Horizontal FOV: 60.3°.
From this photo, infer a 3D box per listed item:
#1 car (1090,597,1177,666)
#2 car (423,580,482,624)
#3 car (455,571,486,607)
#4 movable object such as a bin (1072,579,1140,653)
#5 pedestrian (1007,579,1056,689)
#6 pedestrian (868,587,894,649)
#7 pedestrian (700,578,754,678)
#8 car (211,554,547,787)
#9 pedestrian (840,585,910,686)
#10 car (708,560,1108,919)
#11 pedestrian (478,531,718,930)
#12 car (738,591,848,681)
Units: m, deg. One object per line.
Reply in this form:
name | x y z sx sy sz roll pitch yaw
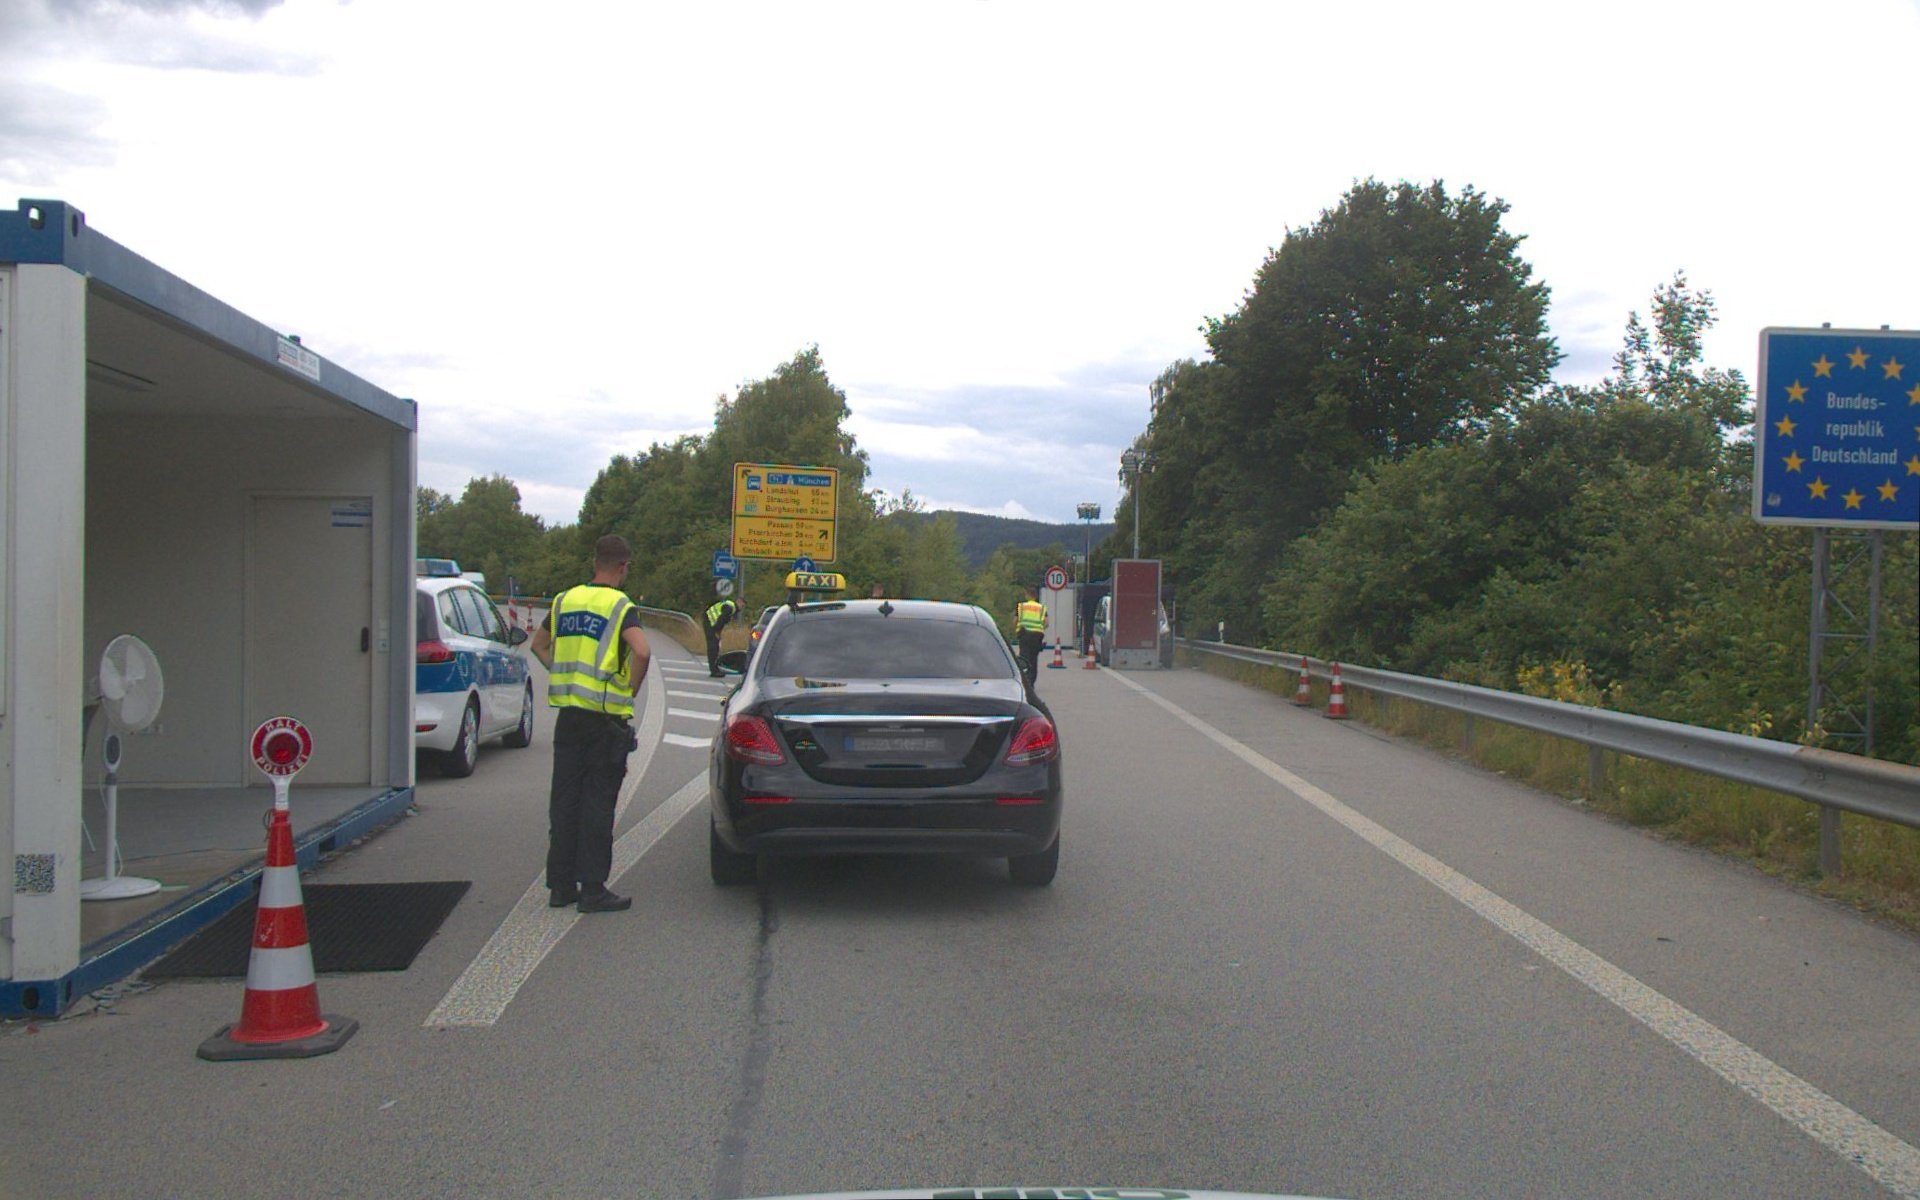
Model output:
car | 4.722 0.815 45.636 1.877 1.707 5.083 2 0 1
car | -18.548 0.071 60.576 1.824 1.524 4.240 1 0 -14
car | -30.967 -0.692 104.643 1.825 2.261 4.237 1 0 -16
movable object such as a bin | 4.758 0.506 54.481 1.952 2.320 4.168 1 0 2
pedestrian | 1.240 0.581 28.653 0.796 1.862 0.809 0 0 -1
pedestrian | -2.573 0.587 53.876 0.650 1.995 0.760 0 0 15
pedestrian | -4.294 0.504 30.524 0.892 1.800 0.911 1 0 -4
car | -4.958 0.541 14.713 1.832 1.774 4.004 1 0 -5
pedestrian | -1.501 0.615 29.192 0.900 1.727 0.903 1 0 -32
car | -0.426 0.632 9.733 1.819 1.623 4.370 1 0 -5
pedestrian | -1.699 0.570 7.795 0.747 1.748 0.815 0 0 36
car | -3.010 0.621 30.513 1.818 1.524 4.253 1 0 -4
